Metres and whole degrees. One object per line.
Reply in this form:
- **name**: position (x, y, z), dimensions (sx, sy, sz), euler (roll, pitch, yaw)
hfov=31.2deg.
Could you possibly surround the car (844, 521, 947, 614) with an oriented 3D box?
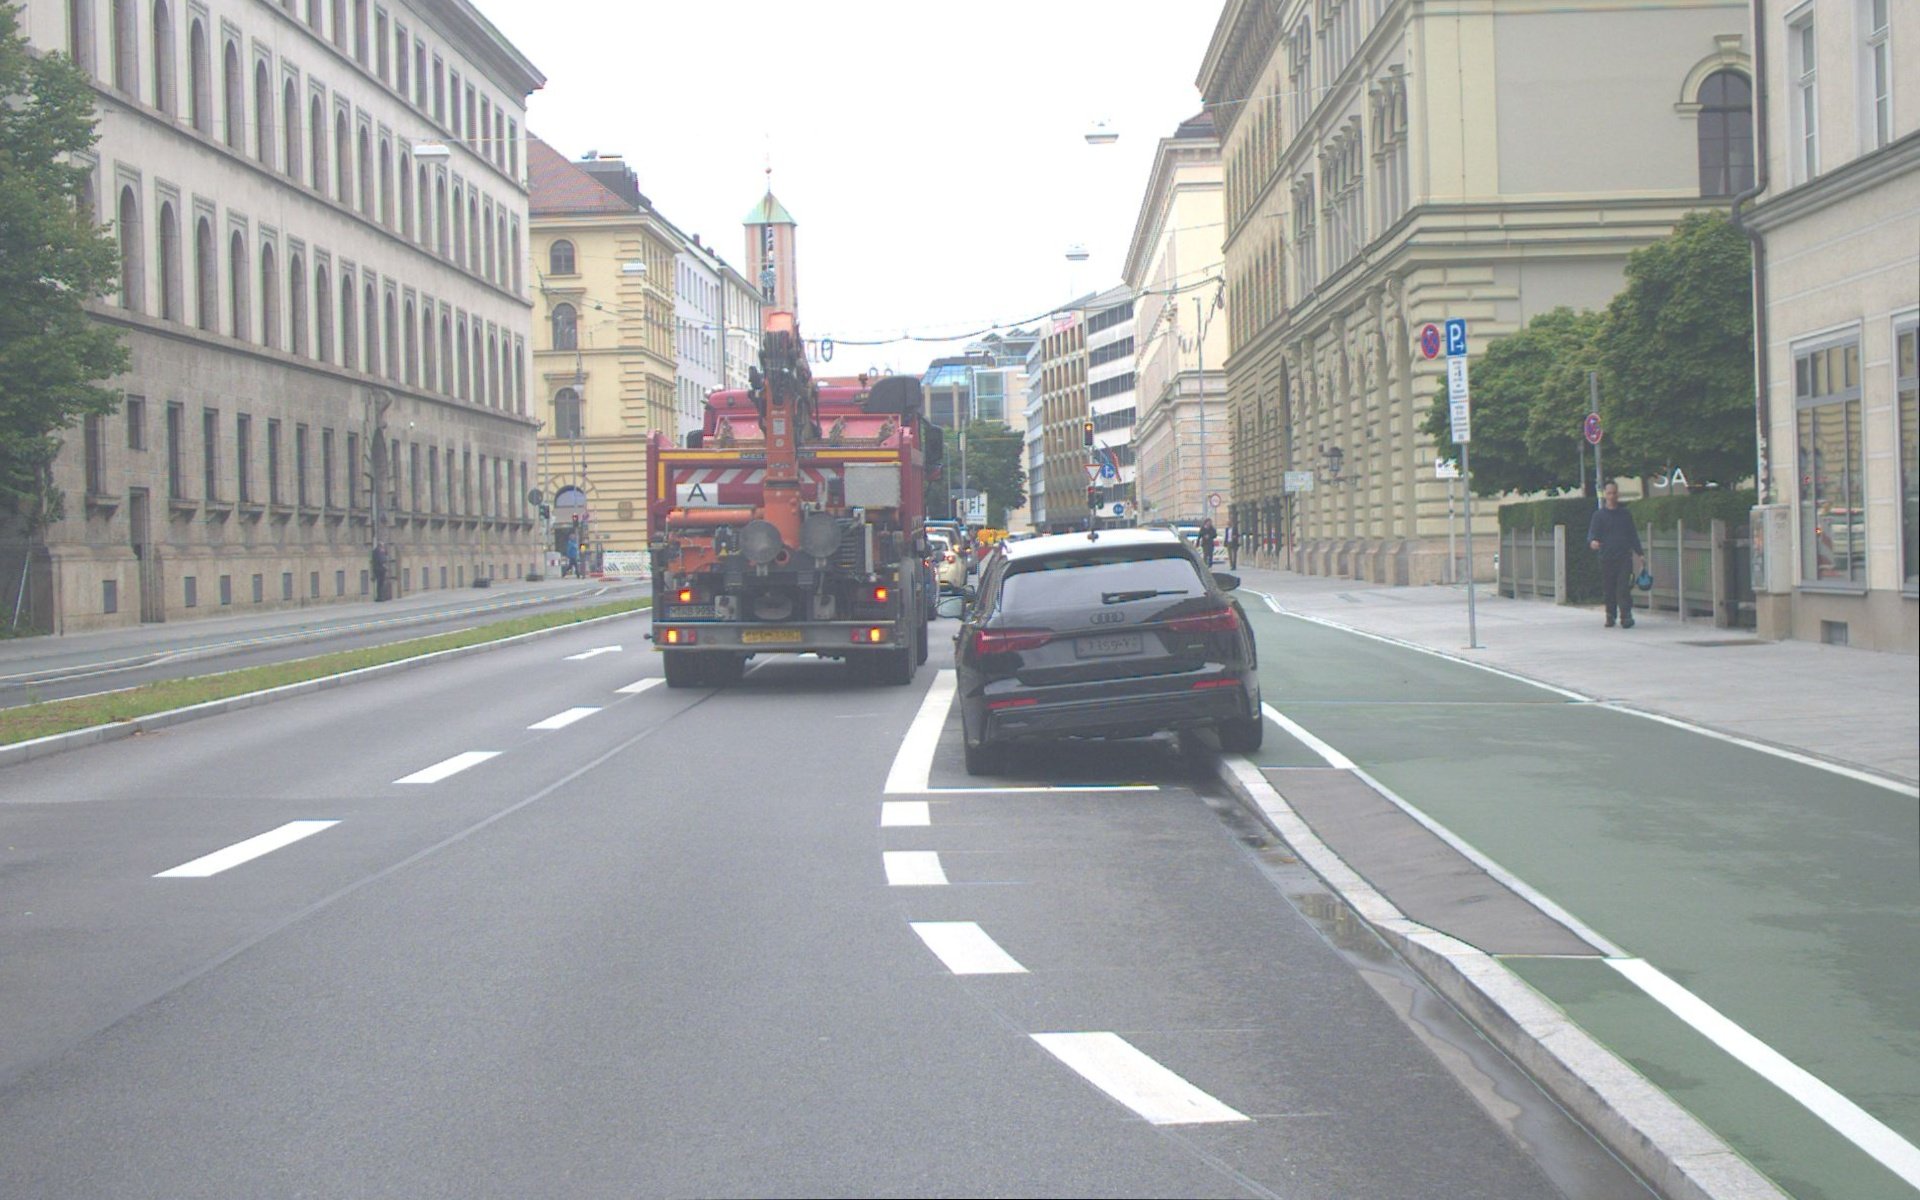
- **car**: position (-1.075, -0.586, 58.803), dimensions (1.610, 1.490, 3.424), euler (-2, 1, 1)

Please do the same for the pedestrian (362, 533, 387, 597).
- **pedestrian**: position (-16.833, -1.017, 98.882), dimensions (0.588, 1.825, 0.499), euler (-1, 1, 0)

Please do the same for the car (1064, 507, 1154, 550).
- **car**: position (6.724, -3.234, 155.447), dimensions (3.987, 1.813, 1.896), euler (-2, 1, 3)

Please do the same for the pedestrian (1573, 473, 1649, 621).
- **pedestrian**: position (8.238, -0.675, 43.546), dimensions (0.790, 1.830, 0.777), euler (-2, 1, 2)

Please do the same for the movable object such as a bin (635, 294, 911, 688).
- **movable object such as a bin**: position (-1.773, -1.073, 34.729), dimensions (2.423, 3.599, 5.852), euler (-1, 1, 0)

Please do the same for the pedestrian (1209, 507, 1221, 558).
- **pedestrian**: position (8.523, -2.262, 115.100), dimensions (0.337, 1.666, 0.440), euler (-2, 1, 2)

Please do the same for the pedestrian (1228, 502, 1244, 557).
- **pedestrian**: position (9.238, -2.366, 115.064), dimensions (0.445, 1.830, 0.556), euler (-2, 1, 2)

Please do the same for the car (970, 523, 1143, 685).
- **car**: position (0.948, 0.001, 34.672), dimensions (1.610, 1.490, 3.424), euler (-2, 1, 1)

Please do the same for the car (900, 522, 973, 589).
- **car**: position (-0.539, -1.077, 81.330), dimensions (1.610, 1.490, 3.424), euler (-2, 1, 1)

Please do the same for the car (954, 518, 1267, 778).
- **car**: position (0.889, 0.230, 22.736), dimensions (1.802, 1.475, 4.687), euler (-2, 1, 0)
